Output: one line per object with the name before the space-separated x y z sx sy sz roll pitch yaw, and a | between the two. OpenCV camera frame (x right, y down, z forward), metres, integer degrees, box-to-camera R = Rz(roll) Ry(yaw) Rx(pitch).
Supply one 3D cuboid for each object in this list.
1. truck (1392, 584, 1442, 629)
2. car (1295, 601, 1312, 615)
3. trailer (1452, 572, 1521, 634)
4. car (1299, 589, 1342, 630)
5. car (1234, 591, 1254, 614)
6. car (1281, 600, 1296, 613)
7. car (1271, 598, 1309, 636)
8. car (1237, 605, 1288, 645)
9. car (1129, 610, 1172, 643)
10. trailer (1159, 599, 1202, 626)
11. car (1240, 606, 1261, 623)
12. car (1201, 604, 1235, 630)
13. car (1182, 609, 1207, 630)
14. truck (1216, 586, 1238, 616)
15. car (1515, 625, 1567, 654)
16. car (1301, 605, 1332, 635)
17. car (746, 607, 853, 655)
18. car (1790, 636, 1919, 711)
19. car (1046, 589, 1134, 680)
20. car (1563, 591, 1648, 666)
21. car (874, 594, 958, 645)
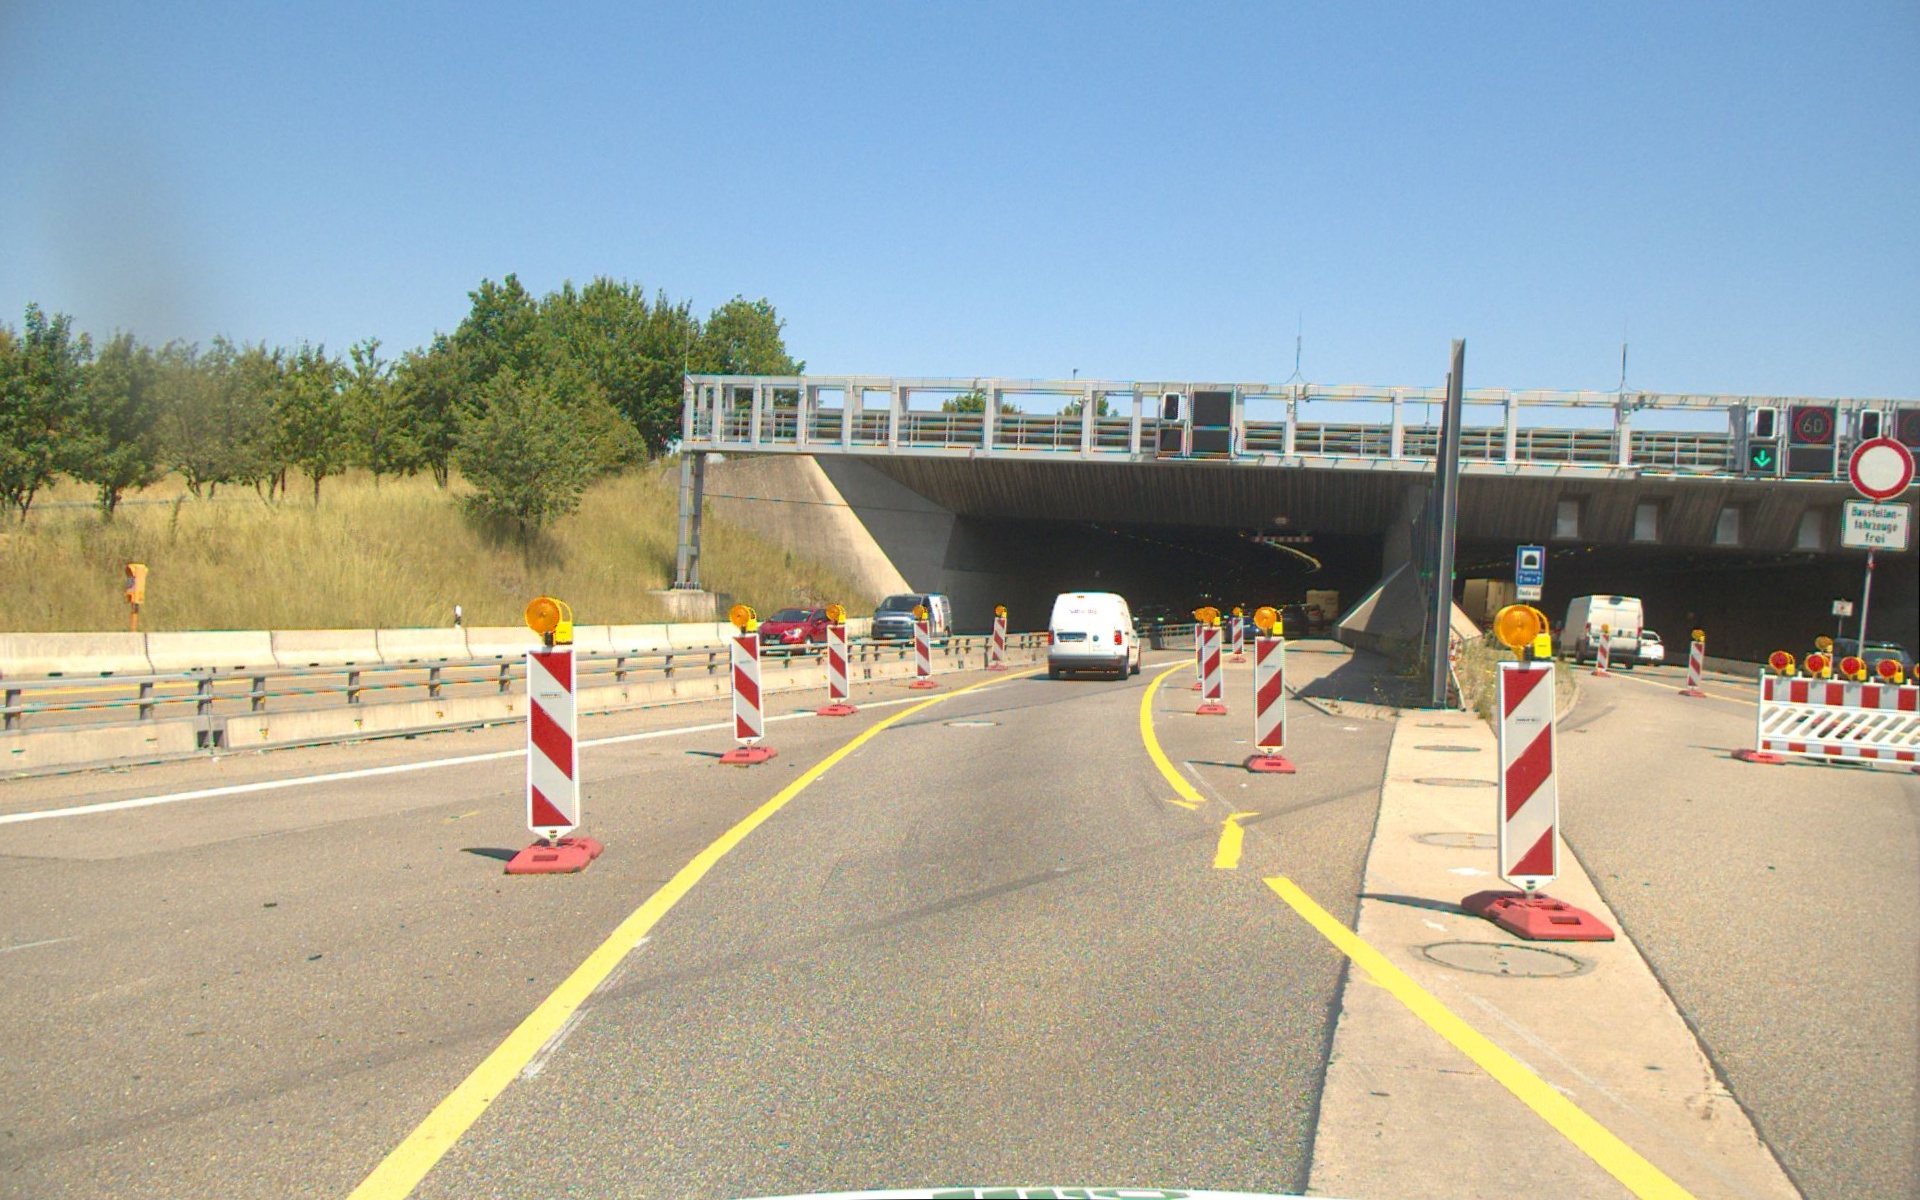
truck | 51.287 0.801 185.979 3.330 4.410 16.548 5 -1 9
car | 48.407 1.115 232.998 2.029 2.057 4.665 0 0 7
trailer | 39.034 0.329 123.122 2.675 4.132 14.106 4 0 10
car | 26.727 0.739 122.335 2.754 2.822 7.105 2 -1 14
car | 31.992 0.282 186.261 1.951 2.559 6.047 0 0 11
car | 50.269 0.986 253.074 2.029 2.057 4.665 0 0 7
car | 17.351 0.885 86.917 1.770 1.846 4.413 2 0 13
car | 13.036 1.073 71.103 1.770 1.564 4.412 2 0 15
car | 9.839 1.349 85.070 1.705 1.621 4.231 0 -1 14
trailer | 15.202 0.834 113.634 1.906 1.837 5.524 0 0 19
car | 26.988 1.327 153.528 1.736 1.605 4.450 0 0 13
car | 17.180 1.113 110.105 1.736 1.621 4.989 0 0 15
car | 19.492 1.597 137.379 1.735 1.695 4.811 0 0 12
truck | 37.062 0.137 229.458 2.750 3.984 6.461 0 0 12
car | 33.443 2.268 95.255 1.777 1.490 4.656 5 0 7
car | 21.993 1.227 101.899 1.770 1.781 4.413 2 0 13
car | -4.922 0.962 51.274 1.653 1.419 3.999 0 -1 22
car | 23.664 1.887 43.229 1.976 1.691 5.241 4 0 9
car | 2.889 0.742 36.458 1.770 1.825 3.733 2 0 5
car | 24.696 1.116 63.493 2.218 2.580 6.589 4 0 15
car | -1.641 0.760 63.552 1.652 1.866 4.789 0 -1 19
